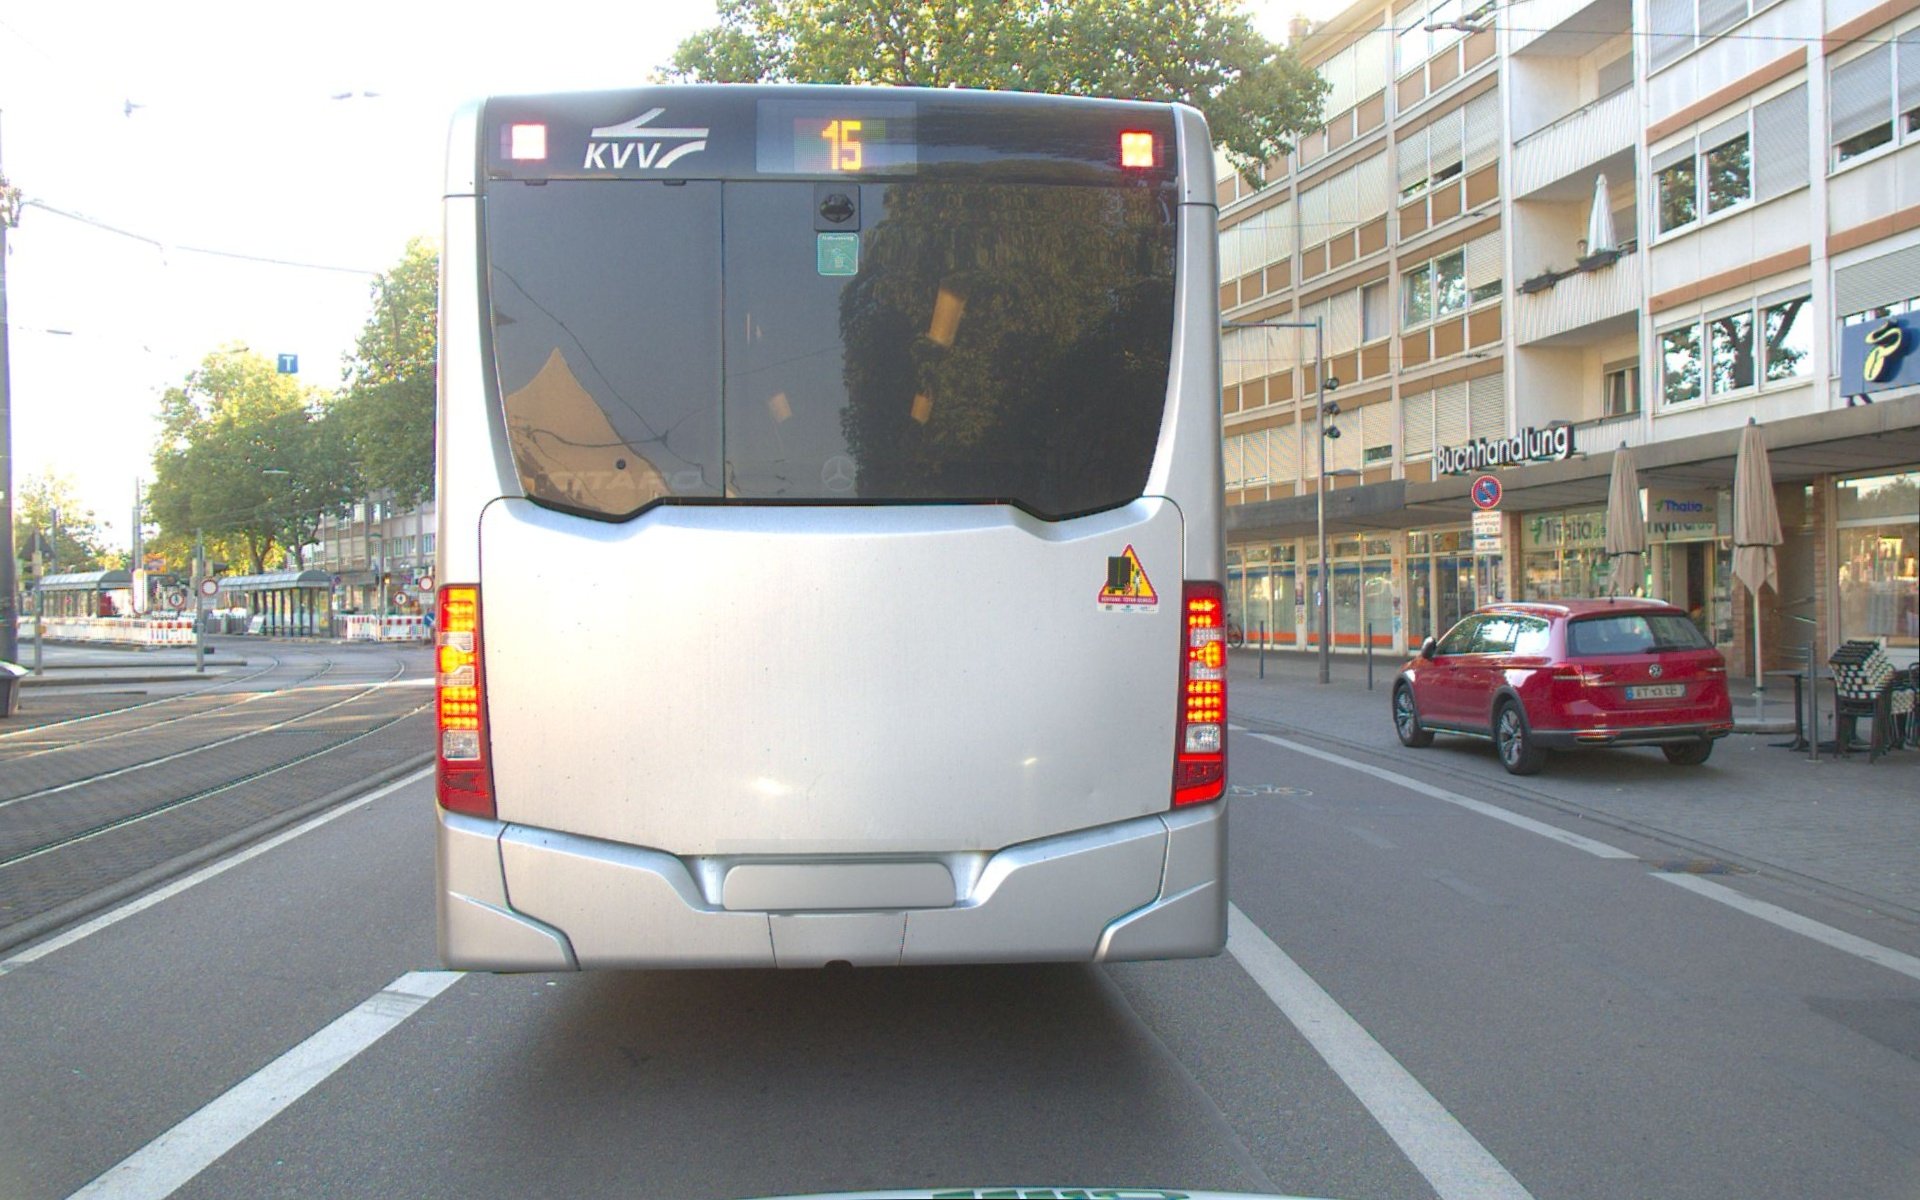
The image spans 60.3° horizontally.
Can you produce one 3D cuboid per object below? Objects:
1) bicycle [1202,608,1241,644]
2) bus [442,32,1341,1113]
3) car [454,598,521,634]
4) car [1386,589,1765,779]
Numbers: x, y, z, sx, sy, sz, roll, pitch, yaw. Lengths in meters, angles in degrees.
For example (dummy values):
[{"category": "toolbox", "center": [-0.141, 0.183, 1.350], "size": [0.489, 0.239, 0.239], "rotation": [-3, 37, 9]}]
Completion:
[{"category": "bicycle", "center": [7.204, 0.710, 45.630], "size": [0.406, 0.961, 1.431], "rotation": [-1, 0, -20]}, {"category": "bus", "center": [-0.393, -0.064, 9.778], "size": [2.578, 3.081, 9.992], "rotation": [0, 0, -3]}, {"category": "car", "center": [-25.018, 0.831, 87.516], "size": [1.982, 1.823, 3.940], "rotation": [1, -1, -41]}, {"category": "car", "center": [5.699, 0.702, 15.946], "size": [1.735, 1.508, 4.299], "rotation": [-2, 0, -4]}]
